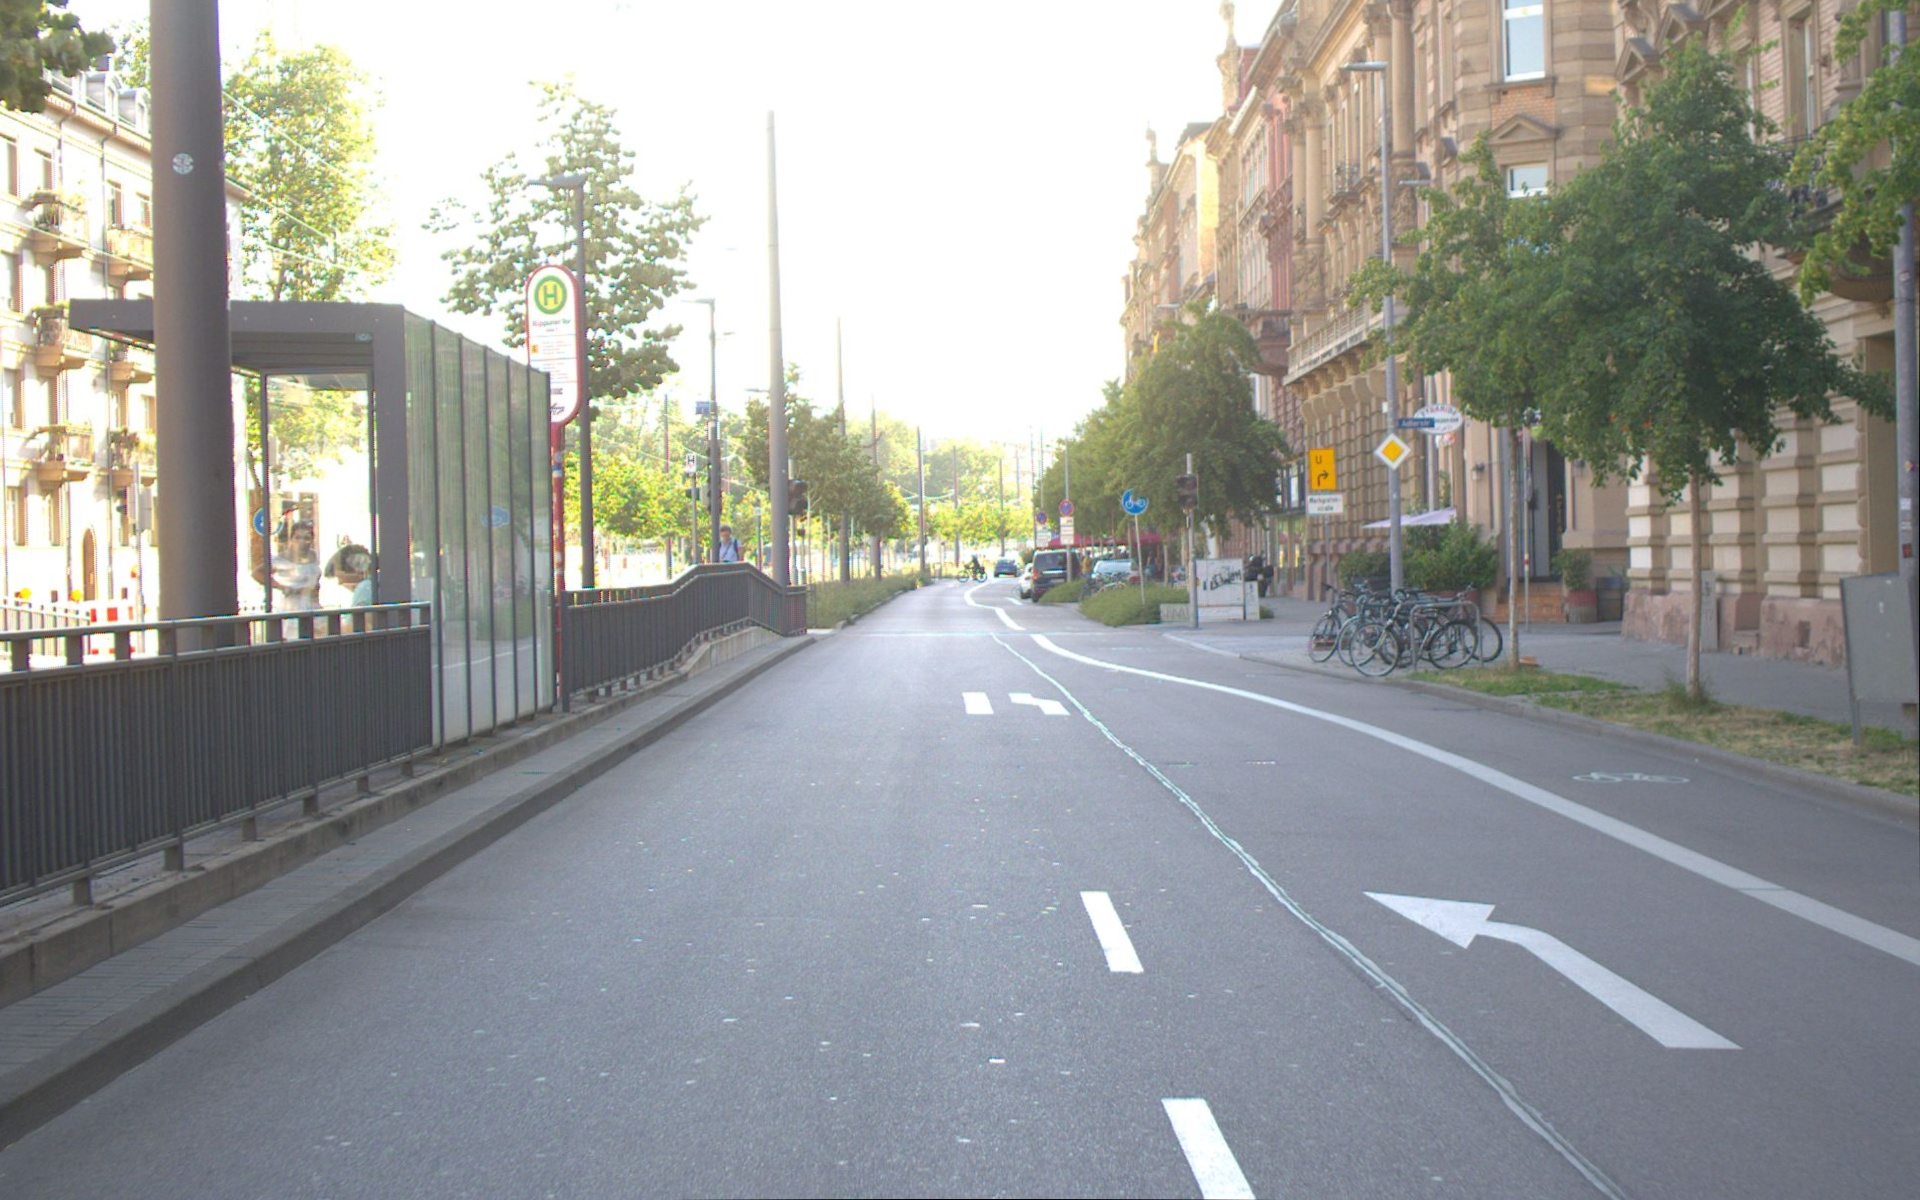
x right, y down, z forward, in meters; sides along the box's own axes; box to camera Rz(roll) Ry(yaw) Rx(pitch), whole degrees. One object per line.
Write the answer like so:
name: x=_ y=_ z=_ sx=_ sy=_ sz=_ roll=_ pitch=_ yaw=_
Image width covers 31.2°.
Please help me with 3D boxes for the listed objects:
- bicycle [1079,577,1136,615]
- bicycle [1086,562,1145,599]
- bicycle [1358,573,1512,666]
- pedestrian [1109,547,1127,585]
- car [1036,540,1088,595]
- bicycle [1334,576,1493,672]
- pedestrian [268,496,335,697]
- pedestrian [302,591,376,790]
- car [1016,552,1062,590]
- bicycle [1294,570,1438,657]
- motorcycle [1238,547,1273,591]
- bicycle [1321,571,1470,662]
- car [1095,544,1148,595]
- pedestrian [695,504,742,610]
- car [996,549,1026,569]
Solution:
bicycle: x=4.636 y=-0.124 z=108.285 sx=1.691 sy=1.044 sz=0.489 roll=-5 pitch=1 yaw=1
bicycle: x=4.738 y=-0.600 z=105.073 sx=1.691 sy=1.044 sz=0.489 roll=-3 pitch=1 yaw=-7
bicycle: x=6.184 y=0.250 z=44.826 sx=1.825 sy=1.061 sz=0.664 roll=-4 pitch=2 yaw=-5
pedestrian: x=6.140 y=-1.337 z=133.750 sx=0.625 sy=1.455 sz=0.638 roll=-1 pitch=1 yaw=0
car: x=3.840 y=-1.236 z=130.201 sx=1.885 sy=1.930 sz=4.473 roll=-1 pitch=2 yaw=2
bicycle: x=5.731 y=0.303 z=43.456 sx=1.825 sy=1.061 sz=0.664 roll=-4 pitch=2 yaw=-5
pedestrian: x=-4.585 y=-0.028 z=23.949 sx=0.428 sy=1.381 sz=0.408 roll=-1 pitch=1 yaw=-12
pedestrian: x=-3.771 y=0.543 z=20.870 sx=0.406 sy=1.186 sz=0.430 roll=-1 pitch=1 yaw=-12
car: x=3.305 y=-1.230 z=143.420 sx=1.849 sy=1.452 sz=4.156 roll=-1 pitch=2 yaw=2
bicycle: x=5.628 y=0.180 z=47.686 sx=1.825 sy=1.061 sz=0.664 roll=-4 pitch=2 yaw=-5
motorcycle: x=9.315 y=-0.986 z=108.466 sx=0.795 sy=1.304 sz=2.852 roll=-3 pitch=2 yaw=0
bicycle: x=5.853 y=0.218 z=46.212 sx=1.825 sy=1.061 sz=0.664 roll=-4 pitch=2 yaw=-5
car: x=5.331 y=-1.020 z=113.478 sx=1.637 sy=1.481 sz=4.211 roll=-3 pitch=2 yaw=3
pedestrian: x=-3.808 y=-0.673 z=54.299 sx=0.655 sy=1.637 sz=0.867 roll=-1 pitch=0 yaw=0
car: x=3.793 y=-3.040 z=255.936 sx=1.798 sy=1.459 sz=3.999 roll=-1 pitch=1 yaw=7
